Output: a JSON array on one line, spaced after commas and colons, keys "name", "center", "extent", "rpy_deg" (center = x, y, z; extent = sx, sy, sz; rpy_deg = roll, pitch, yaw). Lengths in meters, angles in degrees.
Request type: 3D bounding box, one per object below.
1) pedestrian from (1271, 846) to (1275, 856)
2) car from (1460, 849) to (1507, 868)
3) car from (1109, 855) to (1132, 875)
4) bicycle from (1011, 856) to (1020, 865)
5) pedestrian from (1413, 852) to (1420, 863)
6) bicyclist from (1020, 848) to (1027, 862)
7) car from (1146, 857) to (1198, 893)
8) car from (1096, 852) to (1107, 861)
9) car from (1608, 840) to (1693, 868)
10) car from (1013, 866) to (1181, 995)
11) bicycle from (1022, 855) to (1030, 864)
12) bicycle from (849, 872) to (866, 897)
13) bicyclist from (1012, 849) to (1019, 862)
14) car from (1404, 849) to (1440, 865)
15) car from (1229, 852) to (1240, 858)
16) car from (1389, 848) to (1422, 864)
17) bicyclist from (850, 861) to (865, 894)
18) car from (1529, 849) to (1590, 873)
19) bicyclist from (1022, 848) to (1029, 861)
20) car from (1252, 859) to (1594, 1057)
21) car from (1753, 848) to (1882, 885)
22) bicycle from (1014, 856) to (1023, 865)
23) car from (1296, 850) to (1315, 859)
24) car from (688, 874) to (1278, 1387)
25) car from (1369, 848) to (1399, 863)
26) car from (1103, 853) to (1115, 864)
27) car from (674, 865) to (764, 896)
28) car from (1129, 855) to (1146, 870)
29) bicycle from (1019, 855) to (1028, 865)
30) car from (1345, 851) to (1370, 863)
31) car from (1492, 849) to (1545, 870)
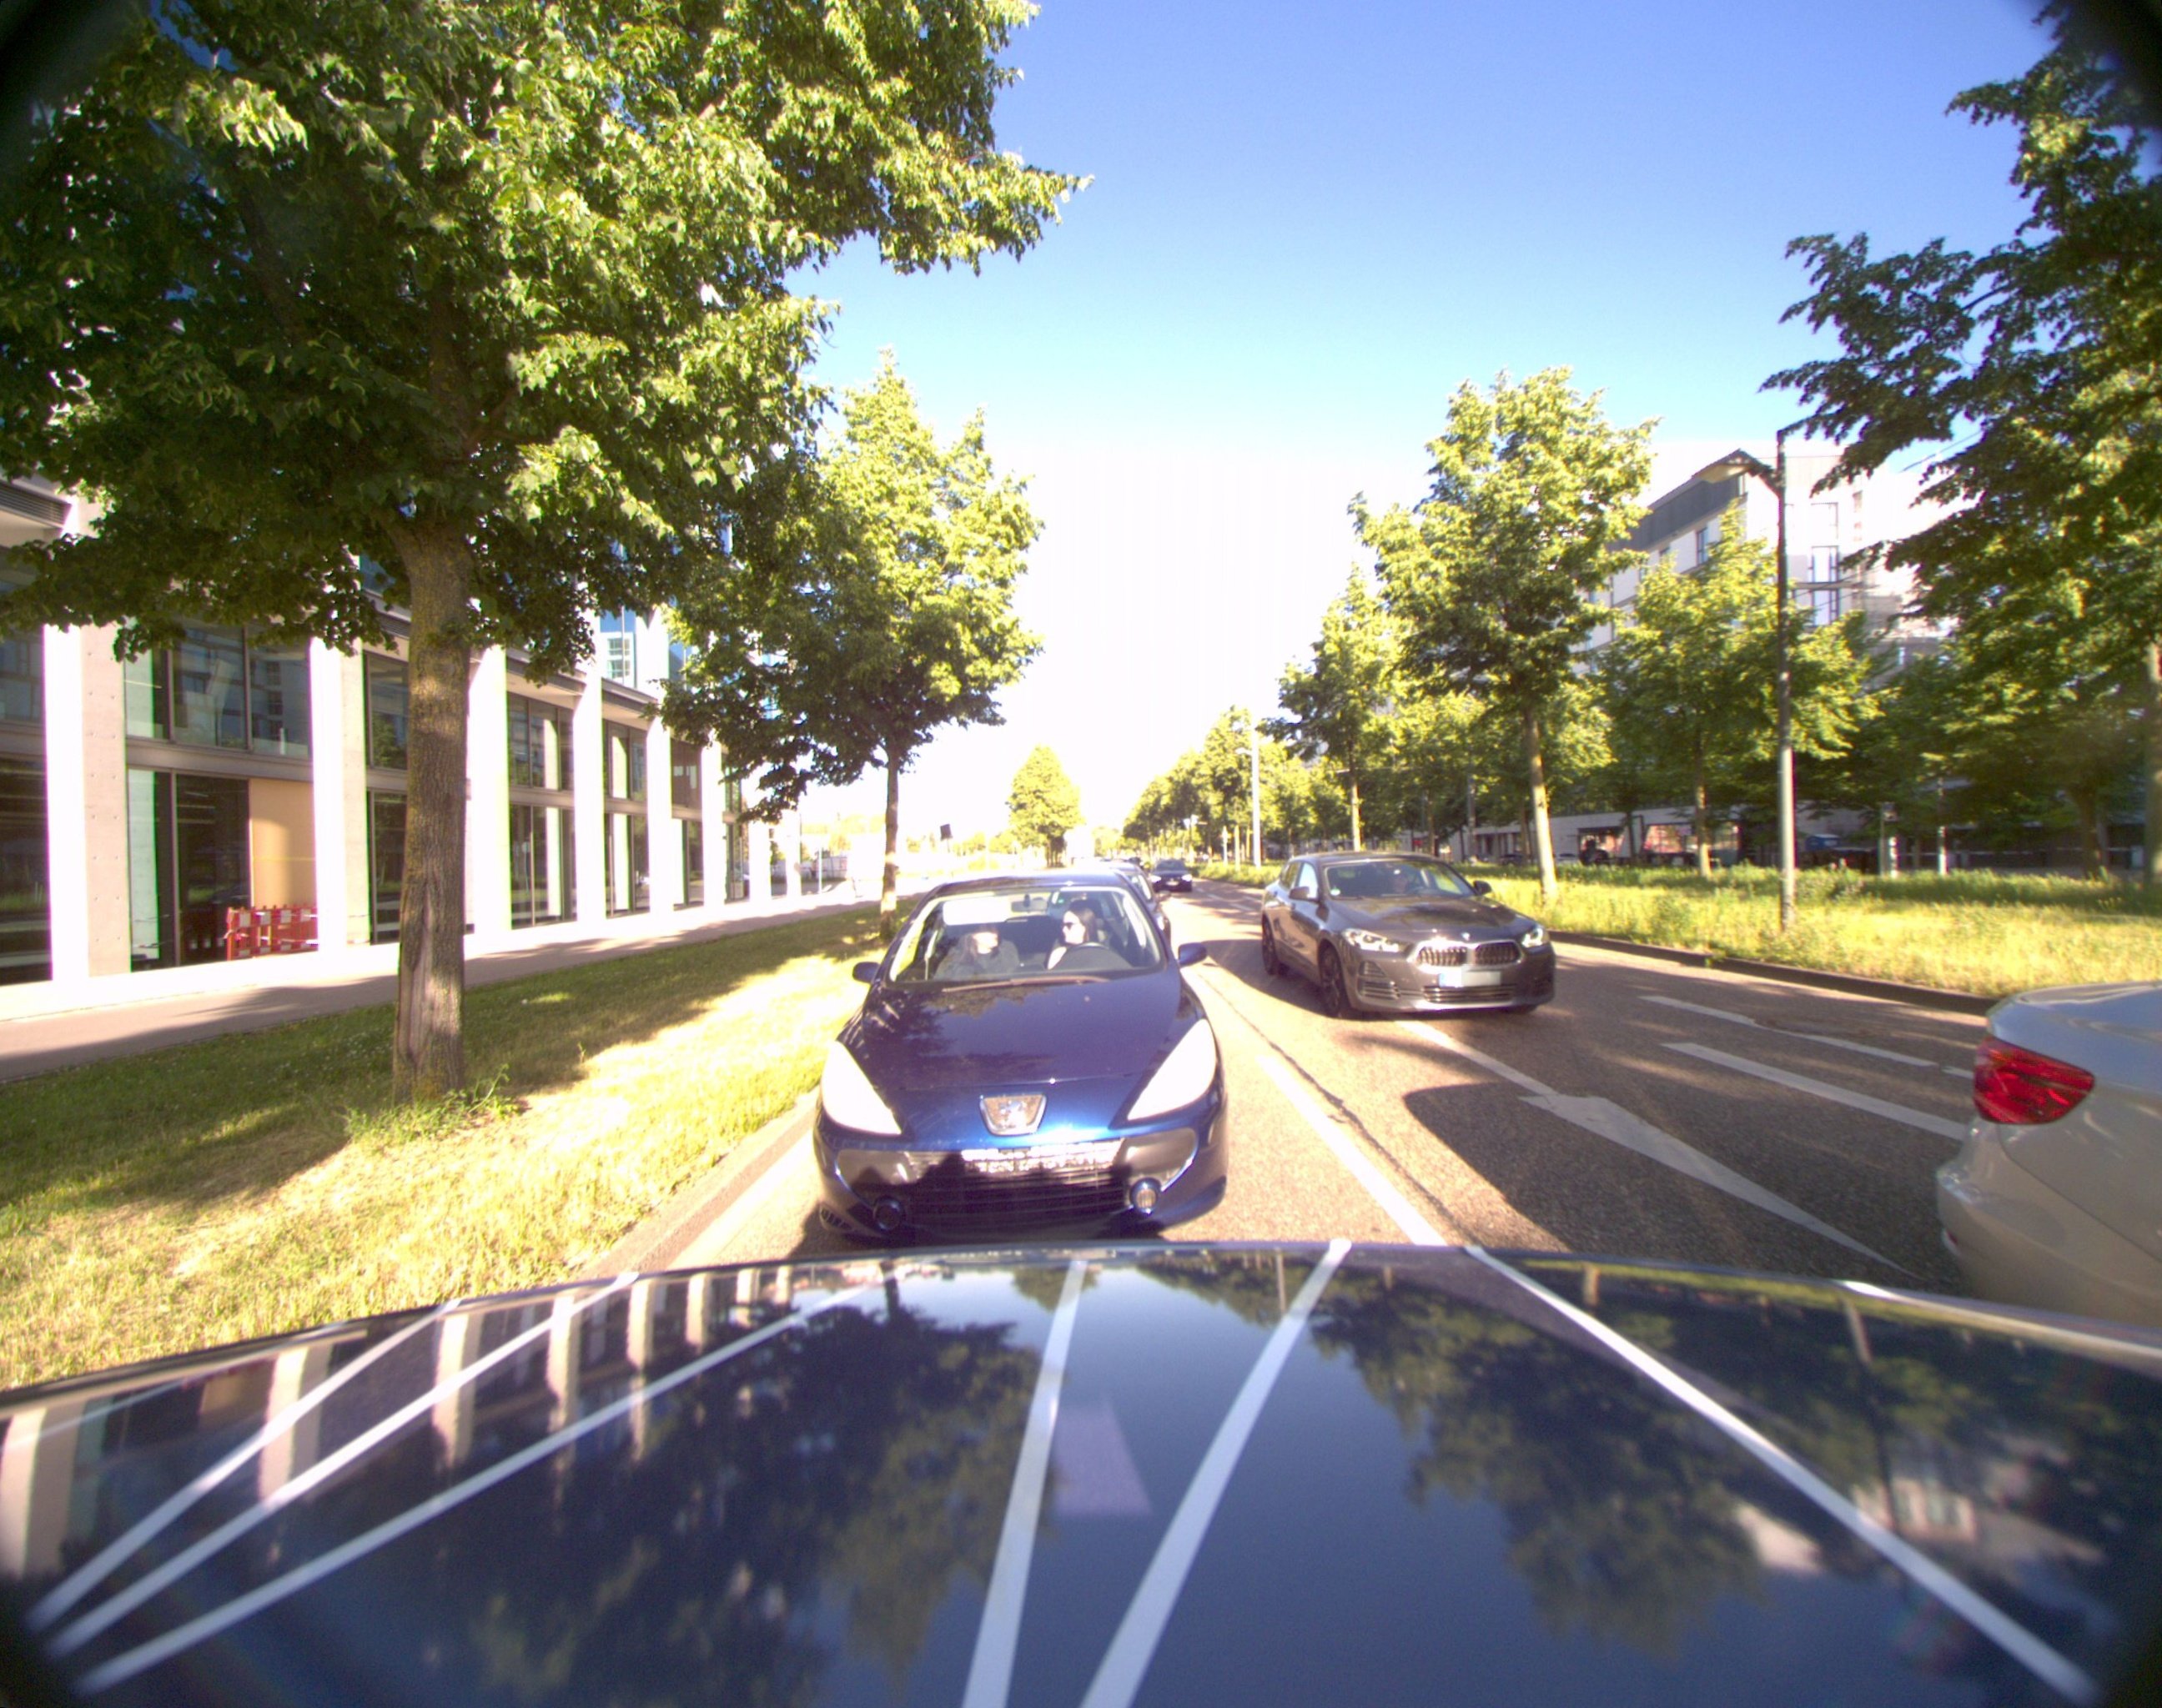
[{"name": "pedestrian", "center": [38.228, -0.546, 151.552], "extent": [0.585, 2.002, 0.619], "rpy_deg": [-1, 1, 1]}, {"name": "car", "center": [35.157, 0.379, 66.523], "extent": [1.884, 1.588, 4.184], "rpy_deg": [-1, 0, 1]}, {"name": "car", "center": [3.198, 0.859, 61.641], "extent": [1.724, 1.516, 4.000], "rpy_deg": [-1, 0, 1]}, {"name": "bicycle", "center": [-9.894, 0.990, 115.002], "extent": [0.931, 1.355, 4.000], "rpy_deg": [-1, 0, 1]}, {"name": "pedestrian", "center": [41.418, 0.374, 93.799], "extent": [0.604, 1.331, 0.660], "rpy_deg": [-1, 1, 1]}, {"name": "bicyclist", "center": [-8.735, 0.147, 115.214], "extent": [0.931, 2.045, 1.121], "rpy_deg": [-1, 1, 1]}, {"name": "car", "center": [3.950, 0.872, 33.568], "extent": [1.878, 1.415, 4.344], "rpy_deg": [-1, 0, 2]}, {"name": "car", "center": [3.761, 0.487, 140.085], "extent": [1.879, 1.561, 4.344], "rpy_deg": [-1, 0, 1]}, {"name": "car", "center": [33.961, 0.000, 45.466], "extent": [1.951, 1.588, 4.184], "rpy_deg": [-1, 0, 1]}, {"name": "car", "center": [0.223, 0.957, 11.465], "extent": [1.998, 1.437, 4.622], "rpy_deg": [-1, 0, 1]}, {"name": "bicycle", "center": [-8.684, 0.874, 119.464], "extent": [0.931, 1.355, 4.000], "rpy_deg": [-1, 0, 1]}, {"name": "bicycle", "center": [-10.635, 1.451, 36.206], "extent": [0.592, 1.149, 1.926], "rpy_deg": [1, 0, -10]}, {"name": "bicyclist", "center": [-9.903, 0.222, 115.012], "extent": [0.931, 2.045, 1.121], "rpy_deg": [-1, 1, 1]}, {"name": "car", "center": [35.033, 0.284, 78.205], "extent": [1.884, 1.588, 4.184], "rpy_deg": [-1, 0, 1]}, {"name": "car", "center": [36.116, 0.202, 179.240], "extent": [1.998, 1.387, 4.001], "rpy_deg": [-1, 0, 4]}, {"name": "car", "center": [35.445, 0.215, 83.113], "extent": [1.884, 1.588, 4.184], "rpy_deg": [-1, 0, 1]}, {"name": "bicyclist", "center": [-10.628, 1.115, 36.200], "extent": [0.592, 1.530, 0.699], "rpy_deg": [1, 0, -10]}, {"name": "car", "center": [34.903, 0.490, 55.574], "extent": [1.884, 1.588, 4.184], "rpy_deg": [-1, 0, 1]}, {"name": "bicyclist", "center": [-8.685, 0.107, 119.375], "extent": [0.931, 2.045, 1.121], "rpy_deg": [-1, 1, 1]}, {"name": "car", "center": [3.127, 0.829, 7.956], "extent": [1.861, 1.482, 4.000], "rpy_deg": [-1, 0, 2]}, {"name": "car", "center": [34.088, 0.551, 35.361], "extent": [1.951, 1.588, 4.184], "rpy_deg": [-1, 0, 1]}, {"name": "bicycle", "center": [-9.835, 0.947, 119.388], "extent": [0.931, 1.355, 4.000], "rpy_deg": [-1, 0, 1]}, {"name": "car", "center": [36.611, 0.034, 124.162], "extent": [1.998, 1.387, 4.000], "rpy_deg": [-1, 0, 1]}, {"name": "car", "center": [-0.285, 0.950, 4.670], "extent": [1.846, 1.473, 4.481], "rpy_deg": [-2, 0, 1]}, {"name": "car", "center": [35.503, 0.159, 89.034], "extent": [1.884, 1.588, 4.184], "rpy_deg": [-1, 0, 1]}, {"name": "car", "center": [4.277, 0.648, 115.928], "extent": [1.878, 1.561, 4.344], "rpy_deg": [-1, 0, 2]}, {"name": "car", "center": [-20.040, 1.435, 42.158], "extent": [3.996, 1.569, 2.000], "rpy_deg": [-1, 0, 3]}, {"name": "car", "center": [6.656, 0.988, 90.303], "extent": [1.878, 1.577, 4.344], "rpy_deg": [-1, 0, 2]}, {"name": "bicycle", "center": [-8.714, 0.913, 115.310], "extent": [0.931, 1.355, 4.000], "rpy_deg": [-1, 0, 1]}, {"name": "car", "center": [35.437, 0.371, 97.386], "extent": [1.998, 1.387, 4.001], "rpy_deg": [-1, 0, 4]}, {"name": "car", "center": [35.190, 0.423, 61.240], "extent": [1.884, 1.588, 4.184], "rpy_deg": [-1, 0, 1]}]
